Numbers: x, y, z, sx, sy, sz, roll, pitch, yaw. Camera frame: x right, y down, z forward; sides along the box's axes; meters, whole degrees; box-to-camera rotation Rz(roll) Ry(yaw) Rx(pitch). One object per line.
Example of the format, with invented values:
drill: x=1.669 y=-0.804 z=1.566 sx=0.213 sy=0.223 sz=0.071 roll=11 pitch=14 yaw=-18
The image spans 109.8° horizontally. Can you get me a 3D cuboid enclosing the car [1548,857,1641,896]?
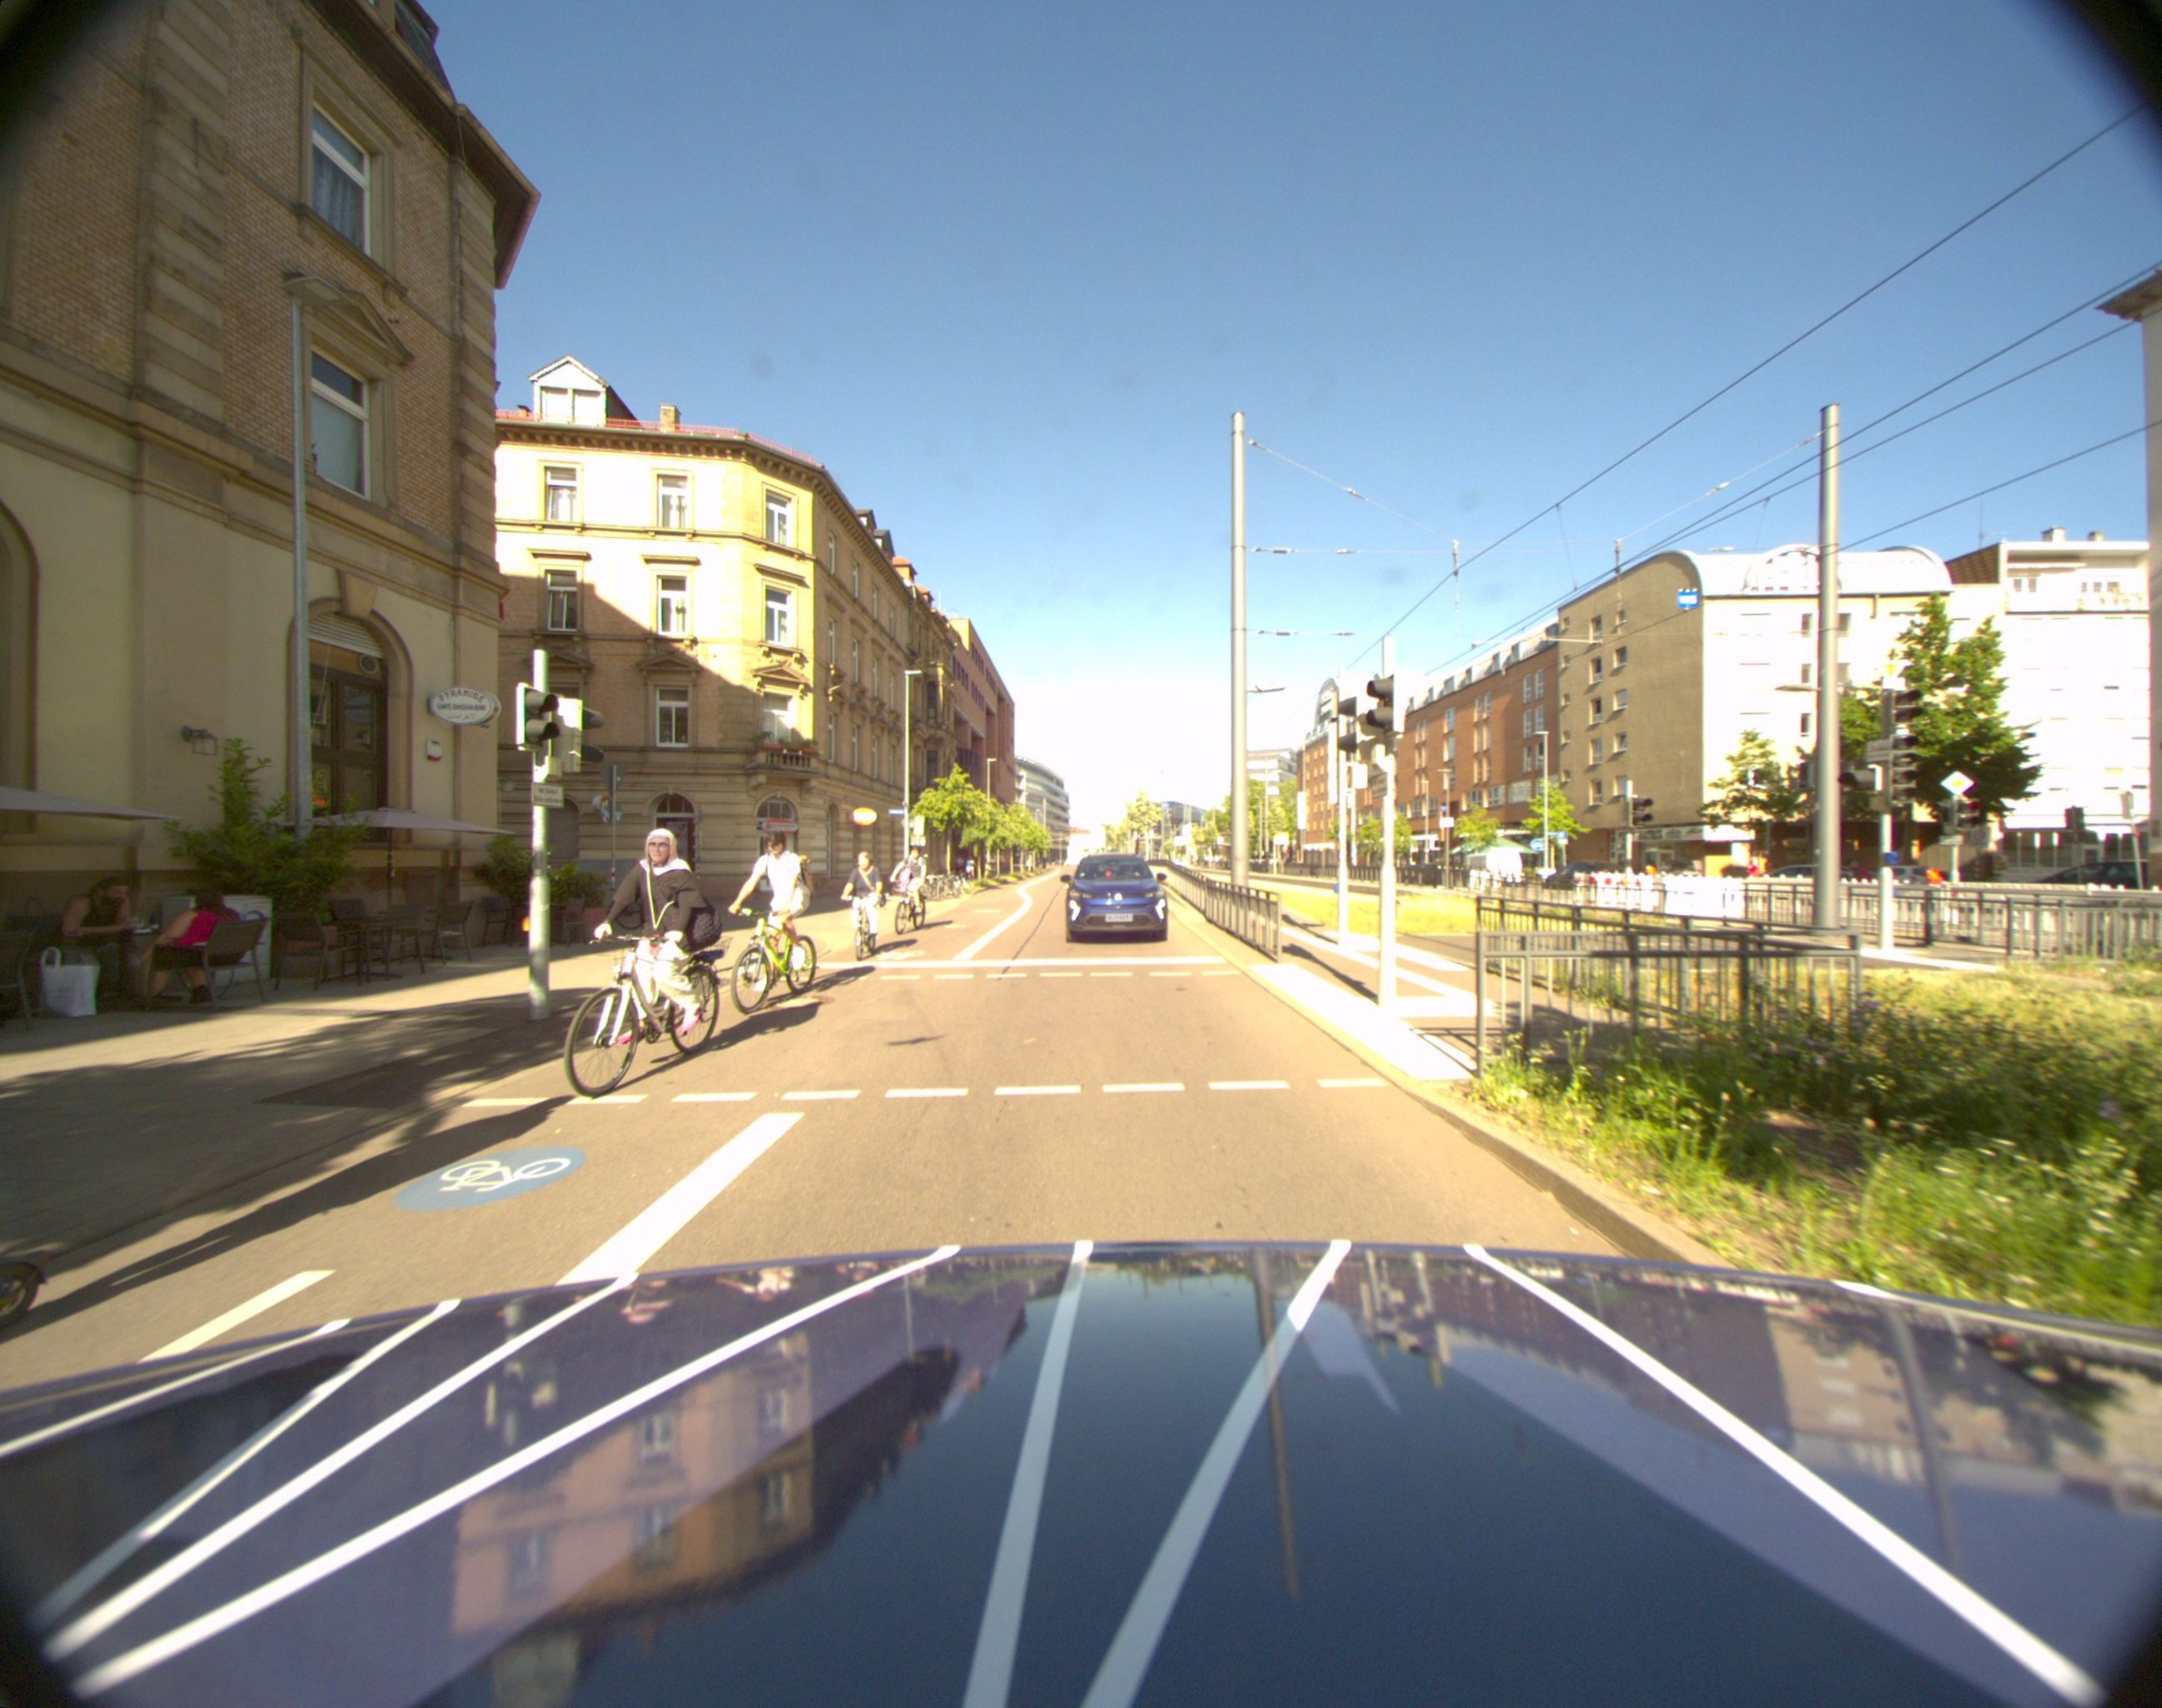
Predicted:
car: x=24.463 y=1.031 z=36.347 sx=1.699 sy=1.630 sz=3.999 roll=-1 pitch=1 yaw=-1

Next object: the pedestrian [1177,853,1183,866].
pedestrian: x=14.664 y=0.811 z=112.152 sx=0.821 sy=1.878 sz=0.769 roll=0 pitch=0 yaw=6

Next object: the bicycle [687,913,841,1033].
bicycle: x=-3.360 y=1.224 z=8.290 sx=0.725 sy=1.000 sz=1.953 roll=-1 pitch=0 yaw=4

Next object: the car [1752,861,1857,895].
car: x=33.666 y=1.075 z=35.453 sx=1.438 sy=1.419 sz=3.345 roll=-1 pitch=1 yaw=-12

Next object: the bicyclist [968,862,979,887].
bicyclist: x=-6.997 y=1.341 z=49.541 sx=0.579 sy=1.608 sz=0.794 roll=0 pitch=1 yaw=-2

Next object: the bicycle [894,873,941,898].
bicycle: x=-6.351 y=1.222 z=29.486 sx=1.717 sy=0.920 sz=0.497 roll=0 pitch=1 yaw=1

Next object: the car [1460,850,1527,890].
car: x=25.607 y=0.914 z=47.404 sx=1.997 sy=2.283 sz=5.192 roll=-1 pitch=1 yaw=9

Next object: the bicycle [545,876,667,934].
bicycle: x=-10.469 y=1.107 z=16.787 sx=2.216 sy=1.224 sz=0.818 roll=0 pitch=-3 yaw=7

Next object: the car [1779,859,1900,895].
car: x=35.838 y=1.046 z=36.036 sx=1.473 sy=1.543 sz=3.964 roll=-1 pitch=1 yaw=-8

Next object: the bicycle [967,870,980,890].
bicycle: x=-7.006 y=1.669 z=49.585 sx=0.579 sy=1.246 sz=2.097 roll=0 pitch=1 yaw=-2

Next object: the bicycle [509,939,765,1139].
bicycle: x=-3.145 y=1.252 z=5.663 sx=0.725 sy=1.000 sz=1.952 roll=-1 pitch=0 yaw=0

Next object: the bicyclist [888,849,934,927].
bicyclist: x=-3.599 y=0.701 z=16.147 sx=0.725 sy=1.595 sz=0.895 roll=-1 pitch=0 yaw=1

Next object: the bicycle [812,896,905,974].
bicycle: x=-3.442 y=1.228 z=11.940 sx=0.830 sy=1.000 sz=1.952 roll=-1 pitch=0 yaw=1

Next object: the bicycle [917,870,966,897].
bicycle: x=-5.705 y=1.204 z=31.063 sx=1.876 sy=1.043 sz=0.608 roll=2 pitch=1 yaw=-4

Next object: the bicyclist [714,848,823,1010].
bicyclist: x=-3.370 y=0.773 z=8.282 sx=0.700 sy=1.647 sz=0.977 roll=-1 pitch=0 yaw=3

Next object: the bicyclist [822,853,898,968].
bicyclist: x=-3.450 y=0.858 z=11.943 sx=0.854 sy=1.716 sz=0.989 roll=-1 pitch=0 yaw=1

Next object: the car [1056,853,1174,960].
car: x=0.560 y=0.819 z=13.967 sx=1.758 sy=1.576 sz=4.420 roll=-3 pitch=0 yaw=1

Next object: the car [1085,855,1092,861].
car: x=1.877 y=1.064 z=188.936 sx=1.745 sy=1.543 sz=4.000 roll=0 pitch=0 yaw=1

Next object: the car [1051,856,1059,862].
car: x=-6.530 y=1.230 z=190.682 sx=1.745 sy=1.543 sz=4.000 roll=0 pitch=0 yaw=0

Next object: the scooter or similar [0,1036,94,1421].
scooter or similar: x=-3.713 y=1.204 z=2.016 sx=0.647 sy=1.151 sz=1.150 roll=-1 pitch=0 yaw=0

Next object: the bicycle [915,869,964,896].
bicycle: x=-6.036 y=1.218 z=32.578 sx=1.903 sy=1.024 sz=1.030 roll=2 pitch=1 yaw=-2

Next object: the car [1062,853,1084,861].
car: x=-1.693 y=0.658 z=161.967 sx=4.416 sy=1.546 sz=1.760 roll=0 pitch=0 yaw=1

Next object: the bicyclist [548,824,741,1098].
bicyclist: x=-3.151 y=0.716 z=5.603 sx=0.725 sy=1.807 sz=1.091 roll=-1 pitch=0 yaw=2

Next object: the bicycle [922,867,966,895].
bicycle: x=-6.074 y=1.192 z=33.723 sx=1.678 sy=1.055 sz=1.134 roll=3 pitch=1 yaw=-1

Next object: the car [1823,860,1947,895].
car: x=38.409 y=1.081 z=36.455 sx=1.715 sy=1.477 sz=3.999 roll=-1 pitch=1 yaw=0

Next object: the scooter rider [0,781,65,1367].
scooter rider: x=-3.755 y=0.699 z=2.087 sx=0.663 sy=1.855 sz=0.897 roll=-1 pitch=0 yaw=-2

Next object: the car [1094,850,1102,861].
car: x=3.810 y=0.394 z=174.798 sx=1.758 sy=2.471 sz=4.610 roll=0 pitch=0 yaw=1

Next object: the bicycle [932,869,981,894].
bicycle: x=-5.743 y=1.264 z=35.125 sx=2.062 sy=1.036 sz=0.847 roll=3 pitch=1 yaw=0

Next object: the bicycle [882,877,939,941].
bicycle: x=-3.590 y=1.128 z=16.151 sx=0.725 sy=1.187 sz=1.952 roll=-1 pitch=0 yaw=1

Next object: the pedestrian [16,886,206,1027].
pedestrian: x=-9.622 y=0.984 z=7.584 sx=0.727 sy=1.275 sz=0.887 roll=0 pitch=1 yaw=0

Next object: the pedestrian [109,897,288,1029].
pedestrian: x=-8.691 y=1.044 z=7.531 sx=0.719 sy=1.176 sz=0.881 roll=0 pitch=1 yaw=0

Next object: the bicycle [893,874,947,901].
bicycle: x=-6.104 y=1.263 z=28.852 sx=1.905 sy=0.906 sz=0.592 roll=2 pitch=2 yaw=9

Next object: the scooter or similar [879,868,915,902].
scooter or similar: x=-6.622 y=1.112 z=27.338 sx=1.199 sy=1.191 sz=0.487 roll=0 pitch=0 yaw=-4
